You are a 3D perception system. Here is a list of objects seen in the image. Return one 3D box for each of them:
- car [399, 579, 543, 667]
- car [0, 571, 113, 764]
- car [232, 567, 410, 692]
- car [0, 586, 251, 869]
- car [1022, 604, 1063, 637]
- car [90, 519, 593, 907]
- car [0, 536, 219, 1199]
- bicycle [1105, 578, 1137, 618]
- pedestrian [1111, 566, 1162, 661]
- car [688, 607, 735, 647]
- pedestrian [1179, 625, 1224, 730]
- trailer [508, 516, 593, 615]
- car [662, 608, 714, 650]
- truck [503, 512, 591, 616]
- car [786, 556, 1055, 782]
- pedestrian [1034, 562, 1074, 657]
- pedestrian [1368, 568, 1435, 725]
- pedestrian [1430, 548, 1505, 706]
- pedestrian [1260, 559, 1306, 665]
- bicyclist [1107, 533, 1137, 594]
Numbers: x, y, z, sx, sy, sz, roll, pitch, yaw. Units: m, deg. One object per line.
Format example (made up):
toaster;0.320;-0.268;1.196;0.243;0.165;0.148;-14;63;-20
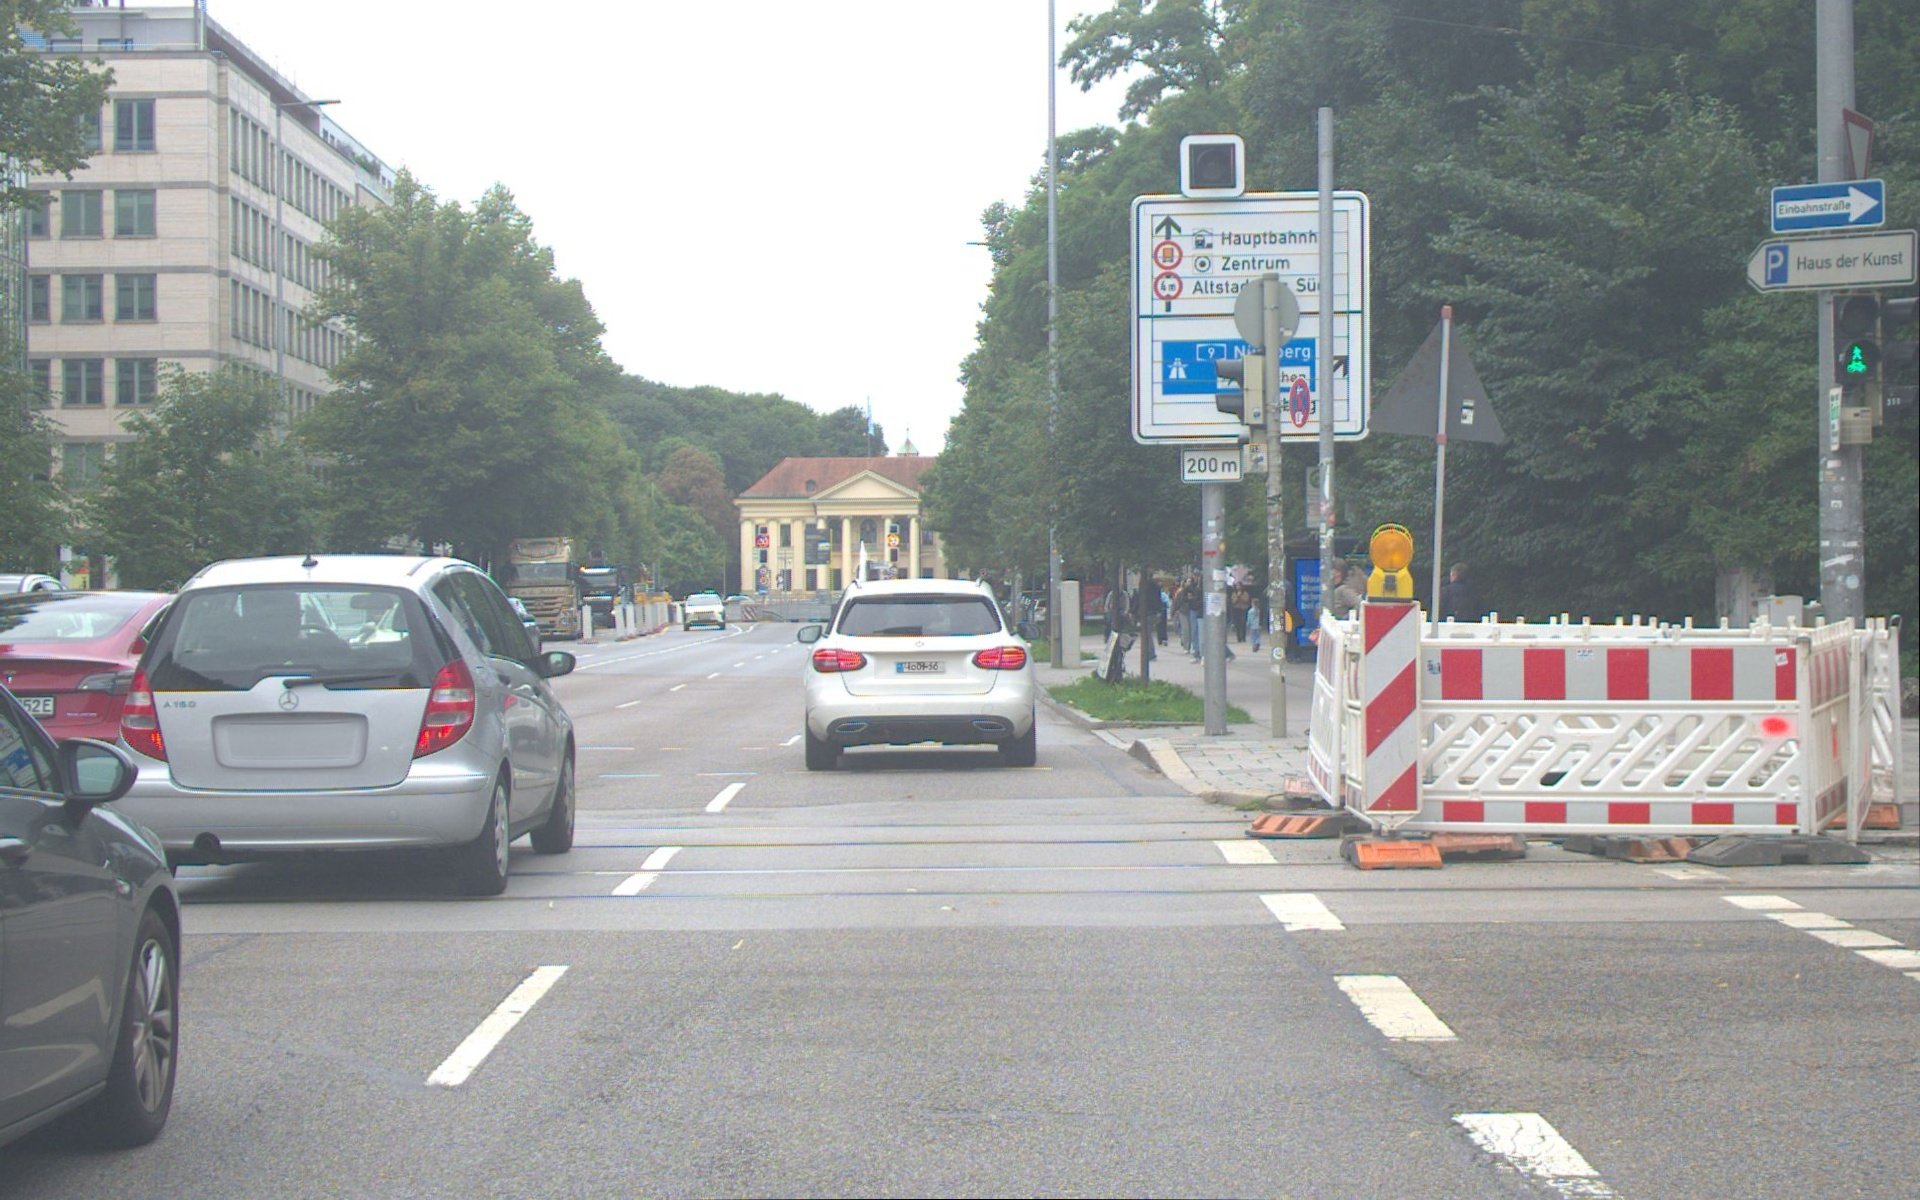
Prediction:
car;-8.362;0.387;59.110;1.767;1.418;4.747;-2;0;0
car;-8.604;0.553;29.695;1.634;1.566;3.946;0;0;0
car;-8.377;0.375;45.347;1.634;1.566;3.946;0;0;0
car;-5.875;0.747;22.202;1.779;1.648;4.000;1;0;-1
car;3.915;0.991;163.962;1.827;1.544;4.751;0;0;0
car;-2.899;0.502;16.948;1.779;1.648;4.000;1;0;-1
car;-2.810;0.624;7.115;1.710;1.547;4.000;1;0;-1
bicycle;4.158;-0.045;88.978;0.675;1.027;2.013;1;0;-1
pedestrian;3.514;0.269;68.397;0.805;1.874;0.543;1;-1;36
car;-11.101;1.192;153.793;1.820;1.722;3.881;1;0;0
pedestrian;4.454;1.420;63.531;0.708;1.909;0.956;1;0;0
trailer;-16.399;-1.307;138.212;2.949;3.727;11.772;1;0;-5
car;-11.827;1.247;149.853;1.857;1.743;4.629;-1;0;0
truck;-15.633;-1.305;130.479;2.915;3.762;7.666;1;0;-4
car;-0.388;0.519;27.449;1.779;1.639;4.001;1;0;-5
pedestrian;1.816;0.190;66.378;0.708;1.802;0.639;1;0;0
pedestrian;5.245;0.552;40.861;0.671;1.833;0.641;1;0;1
pedestrian;6.024;0.319;40.819;0.751;1.833;0.756;1;0;1
pedestrian;5.930;0.223;63.118;0.708;1.909;0.956;1;0;0
bicyclist;4.195;-0.949;88.988;0.708;1.556;0.639;1;0;0
